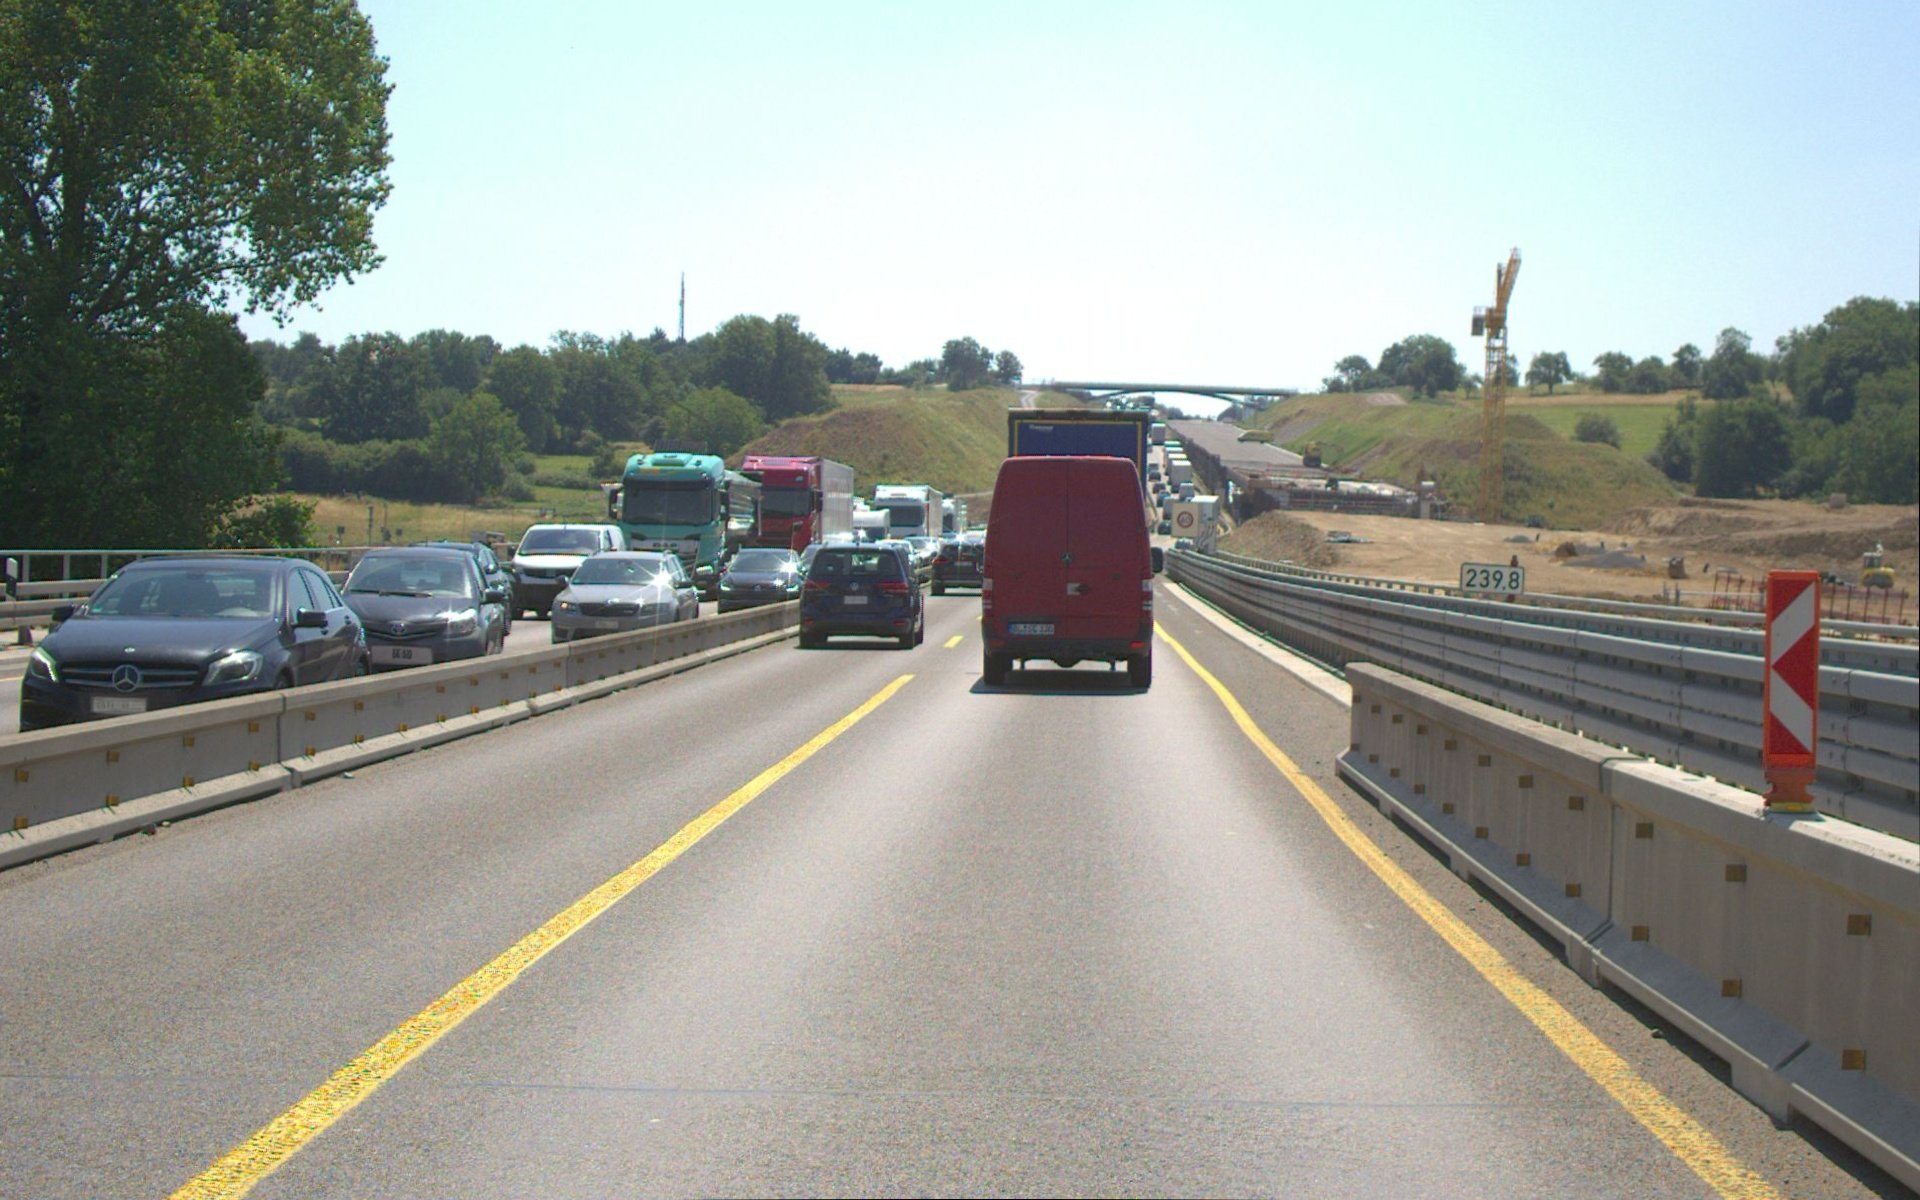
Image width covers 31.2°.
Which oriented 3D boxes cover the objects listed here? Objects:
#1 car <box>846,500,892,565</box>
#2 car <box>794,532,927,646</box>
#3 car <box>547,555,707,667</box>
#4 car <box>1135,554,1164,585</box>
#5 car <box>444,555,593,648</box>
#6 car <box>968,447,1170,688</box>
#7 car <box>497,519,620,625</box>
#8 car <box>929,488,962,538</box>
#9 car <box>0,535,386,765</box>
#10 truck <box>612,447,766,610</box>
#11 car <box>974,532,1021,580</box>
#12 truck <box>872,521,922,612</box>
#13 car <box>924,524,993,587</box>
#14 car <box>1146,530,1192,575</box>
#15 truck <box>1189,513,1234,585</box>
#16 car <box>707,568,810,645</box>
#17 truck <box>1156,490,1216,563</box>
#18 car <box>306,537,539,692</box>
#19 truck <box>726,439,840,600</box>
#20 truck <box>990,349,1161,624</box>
[{"bbox_3d":[-3.792,-2.795,143.116,1.618,2.593,3.890,2,1,2],"label":"car"},{"bbox_3d":[-1.538,-0.216,54.505,1.734,1.629,4.389,2,2,2],"label":"car"},{"bbox_3d":[-4.801,0.120,50.022,1.820,1.491,4.134,2,1,1],"label":"car"},{"bbox_3d":[12.124,-1.952,220.448,1.617,1.830,3.889,2,0,0],"label":"car"},{"bbox_3d":[-7.702,-0.011,60.419,1.820,1.491,5.173,2,1,1],"label":"car"},{"bbox_3d":[1.306,-0.407,41.261,2.150,2.602,5.438,3,1,2],"label":"car"},{"bbox_3d":[-7.984,-0.579,68.645,1.993,2.007,4.000,2,1,-1],"label":"car"},{"bbox_3d":[-0.808,-4.886,193.269,1.618,2.593,3.889,2,0,1],"label":"car"},{"bbox_3d":[-5.582,0.309,25.517,1.757,1.491,4.440,2,1,1],"label":"car"},{"bbox_3d":[-7.074,-1.863,91.361,2.808,3.950,12.134,2,1,1],"label":"truck"},{"bbox_3d":[1.423,-1.641,128.585,1.618,1.694,3.890,2,1,2],"label":"car"},{"bbox_3d":[-3.031,-1.567,166.556,1.993,3.992,6.481,1,-3,2],"label":"truck"},{"bbox_3d":[-0.021,-1.267,97.931,1.820,1.691,4.134,2,1,1],"label":"car"},{"bbox_3d":[8.270,-1.875,136.262,1.618,1.694,3.890,2,1,2],"label":"car"},{"bbox_3d":[14.751,-2.970,201.961,2.291,3.726,6.481,1,-3,2],"label":"truck"},{"bbox_3d":[-4.220,0.113,72.639,1.820,1.491,4.134,2,1,1],"label":"car"},{"bbox_3d":[10.213,-3.320,155.963,2.291,3.185,6.483,1,1,1],"label":"truck"},{"bbox_3d":[-5.647,0.120,36.580,1.725,1.491,4.134,2,1,1],"label":"car"},{"bbox_3d":[-5.757,-2.611,113.850,2.808,4.922,12.134,2,1,1],"label":"truck"},{"bbox_3d":[2.130,-2.103,65.943,2.945,4.929,6.741,2,1,0],"label":"truck"}]
